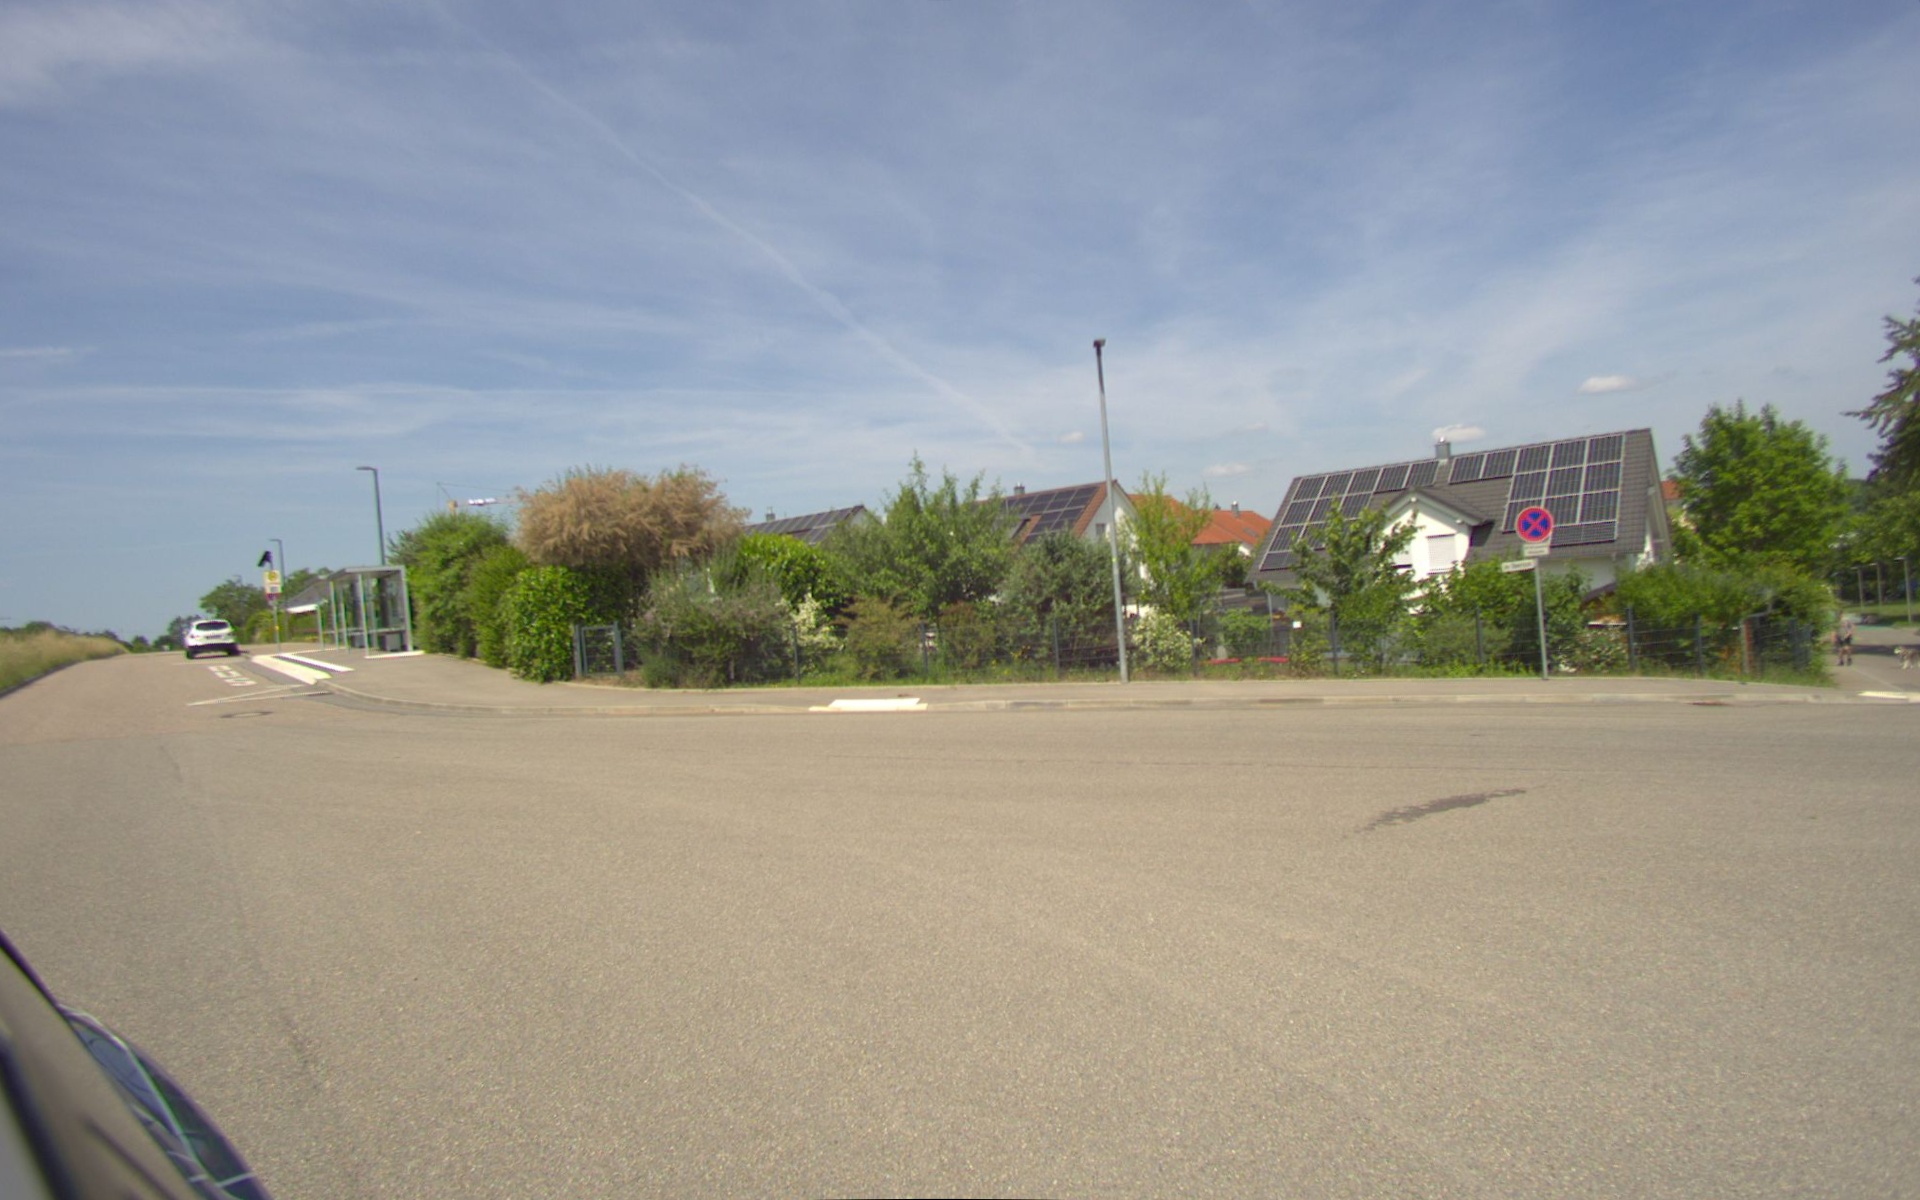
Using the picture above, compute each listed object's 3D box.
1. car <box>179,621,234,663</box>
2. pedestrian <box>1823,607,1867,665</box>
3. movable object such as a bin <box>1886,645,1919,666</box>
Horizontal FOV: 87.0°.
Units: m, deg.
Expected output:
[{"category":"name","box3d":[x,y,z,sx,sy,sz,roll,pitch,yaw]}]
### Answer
[{"category":"car","box3d":[-33.677,1.860,45.178,1.713,1.645,4.360,-4,1,-39]},{"category":"pedestrian","box3d":[28.620,1.187,32.737,0.846,1.834,0.825,-3,-6,34]},{"category":"movable object such as a bin","box3d":[29.302,1.724,31.221,1.004,0.633,0.551,0,-3,-10]}]
